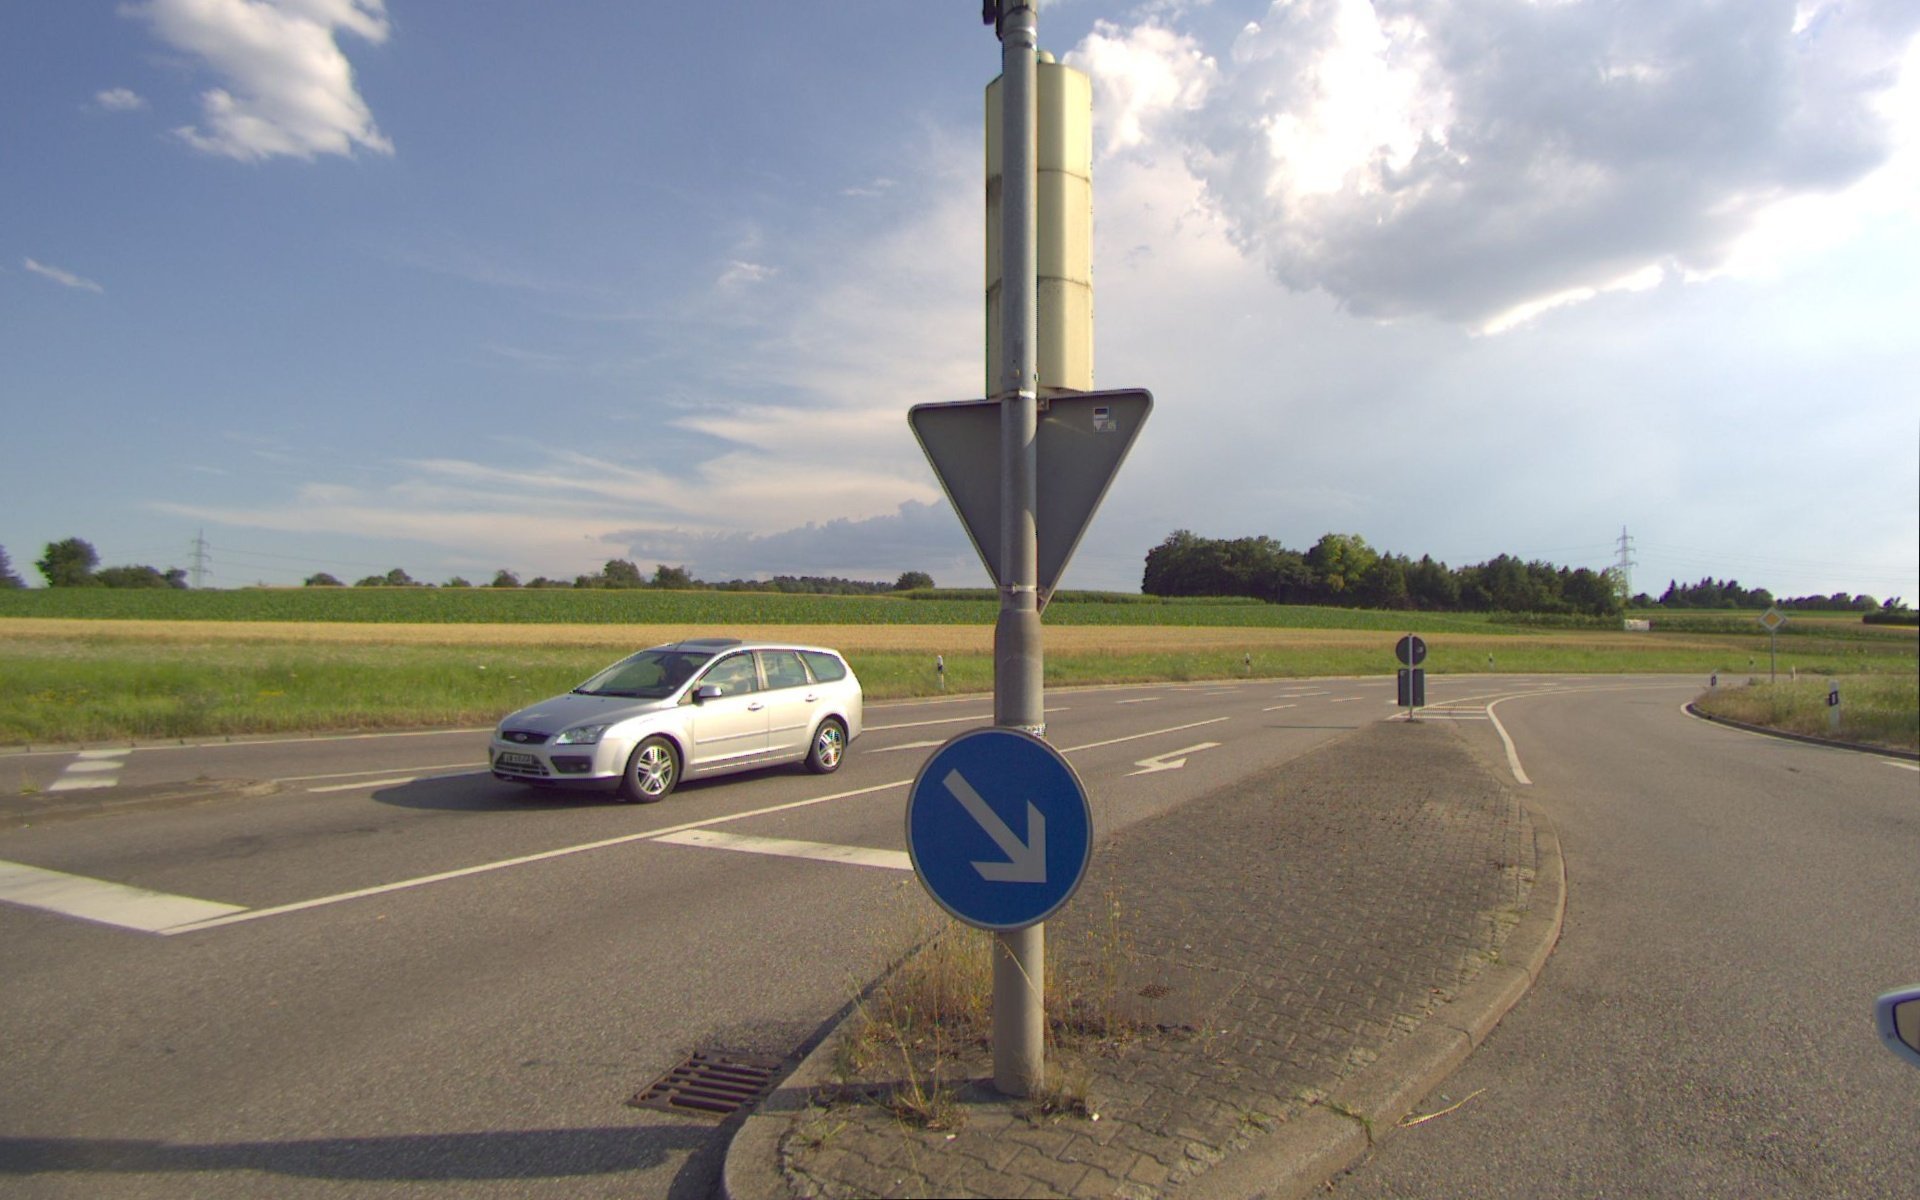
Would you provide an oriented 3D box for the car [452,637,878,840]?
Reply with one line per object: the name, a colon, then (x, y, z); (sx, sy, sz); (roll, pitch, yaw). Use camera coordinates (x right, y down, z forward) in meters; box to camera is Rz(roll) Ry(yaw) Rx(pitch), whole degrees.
car: (-2.859, 1.244, 10.746); (1.788, 1.548, 4.344); (0, 0, 31)
